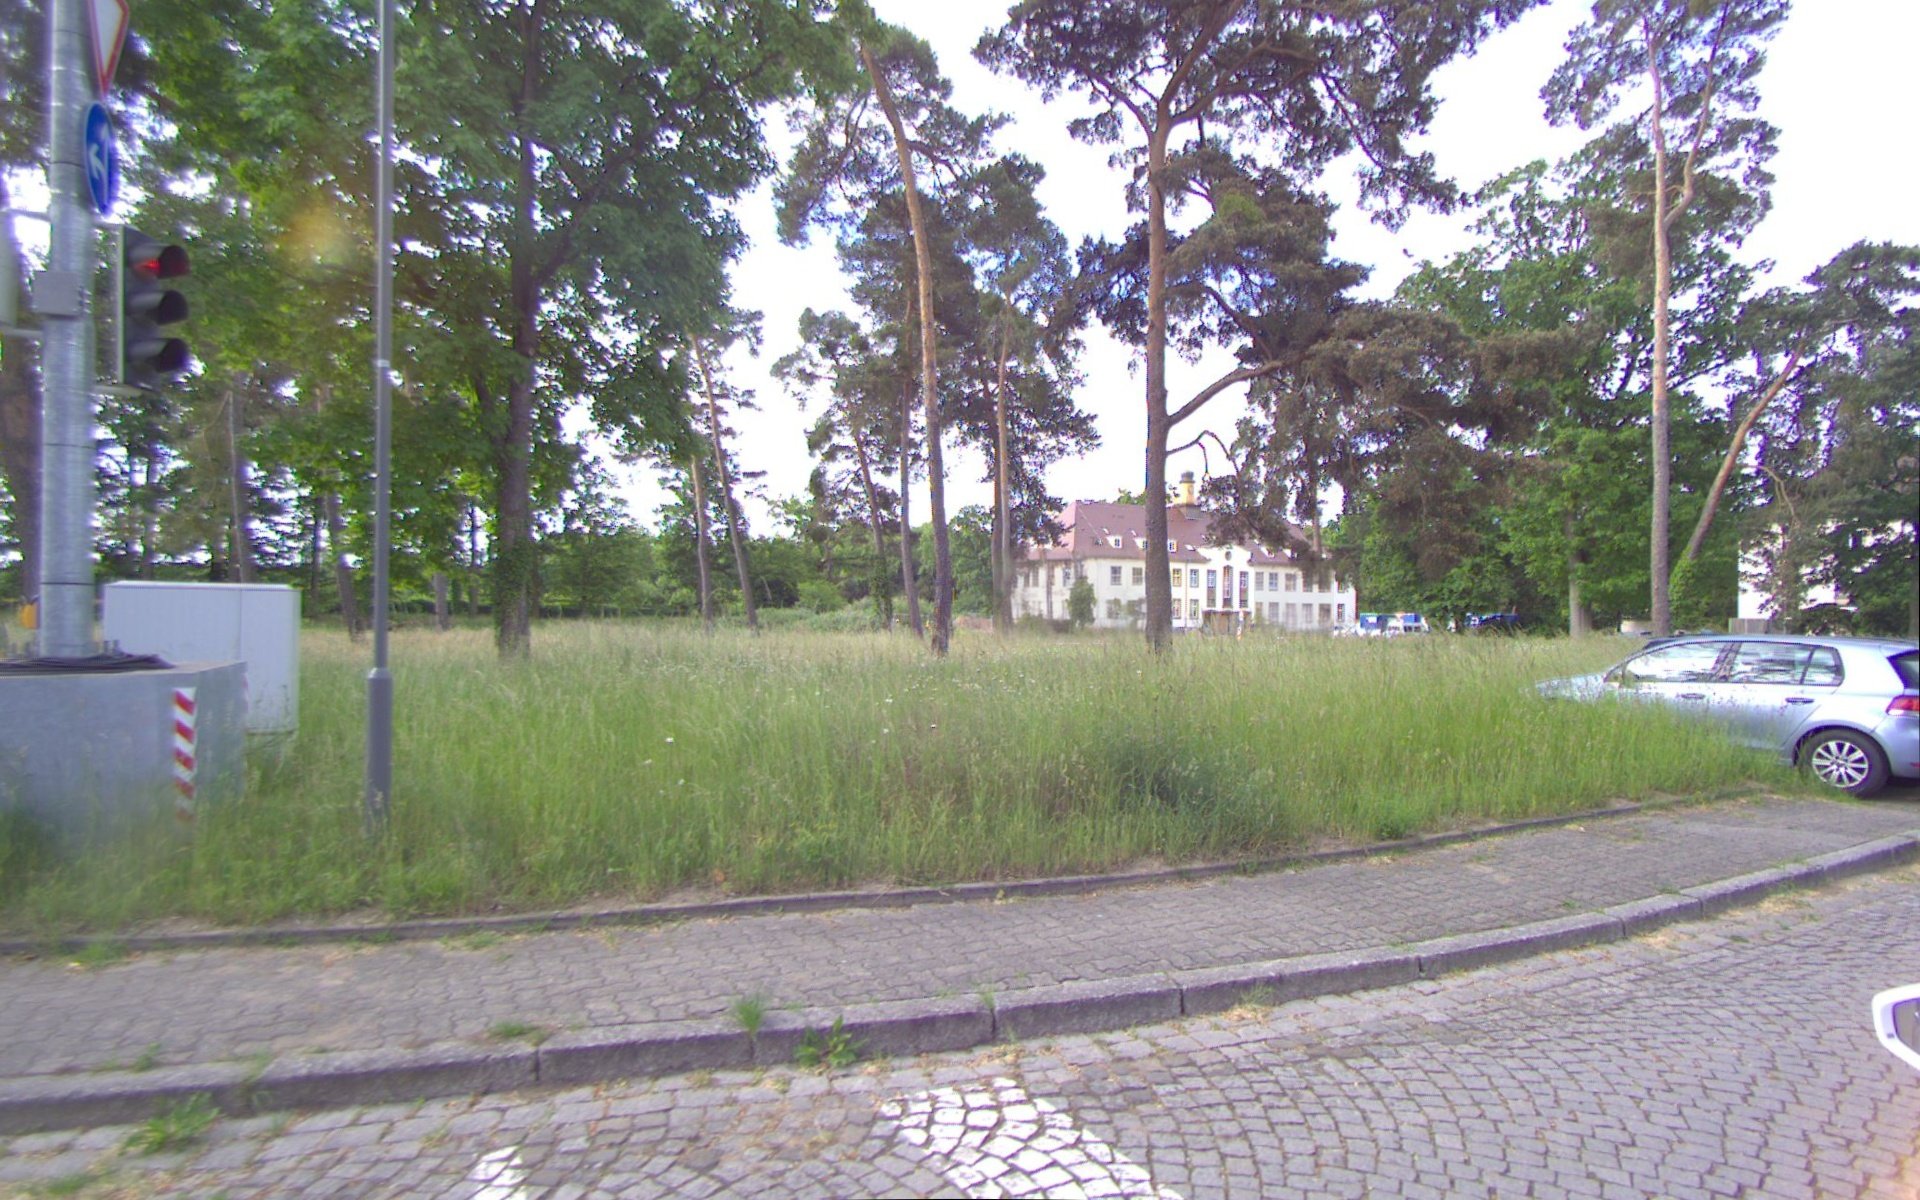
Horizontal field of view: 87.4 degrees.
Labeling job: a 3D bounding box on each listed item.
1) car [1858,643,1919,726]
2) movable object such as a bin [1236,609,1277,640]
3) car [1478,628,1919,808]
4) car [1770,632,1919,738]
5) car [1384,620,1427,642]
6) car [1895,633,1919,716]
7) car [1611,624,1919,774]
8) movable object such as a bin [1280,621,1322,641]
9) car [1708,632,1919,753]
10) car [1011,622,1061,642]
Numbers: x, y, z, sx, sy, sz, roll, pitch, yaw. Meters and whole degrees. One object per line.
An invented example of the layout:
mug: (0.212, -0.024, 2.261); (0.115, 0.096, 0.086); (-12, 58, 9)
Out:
car: (16.928, 1.398, 15.613); (1.742, 1.300, 4.113); (1, -1, -29)
movable object such as a bin: (36.656, 3.045, 124.297); (2.104, 3.689, 6.123); (2, -2, -12)
car: (8.212, 1.103, 10.961); (1.804, 1.490, 4.312); (2, -1, -27)
car: (14.769, 1.260, 14.660); (1.832, 1.474, 4.236); (1, -1, -29)
car: (46.874, 3.277, 105.683); (4.294, 2.122, 2.052); (3, -3, -30)
car: (19.057, 1.370, 17.244); (1.733, 1.500, 4.072); (1, -1, -28)
car: (10.626, 1.114, 11.956); (1.850, 1.557, 4.477); (2, -1, -32)
movable object such as a bin: (40.695, 3.718, 119.891); (2.347, 2.283, 4.496); (3, -2, -24)
car: (12.906, 1.221, 13.313); (1.925, 1.474, 4.419); (2, -1, -28)
car: (8.650, 3.670, 114.573); (2.350, 2.143, 5.762); (3, -3, -37)
